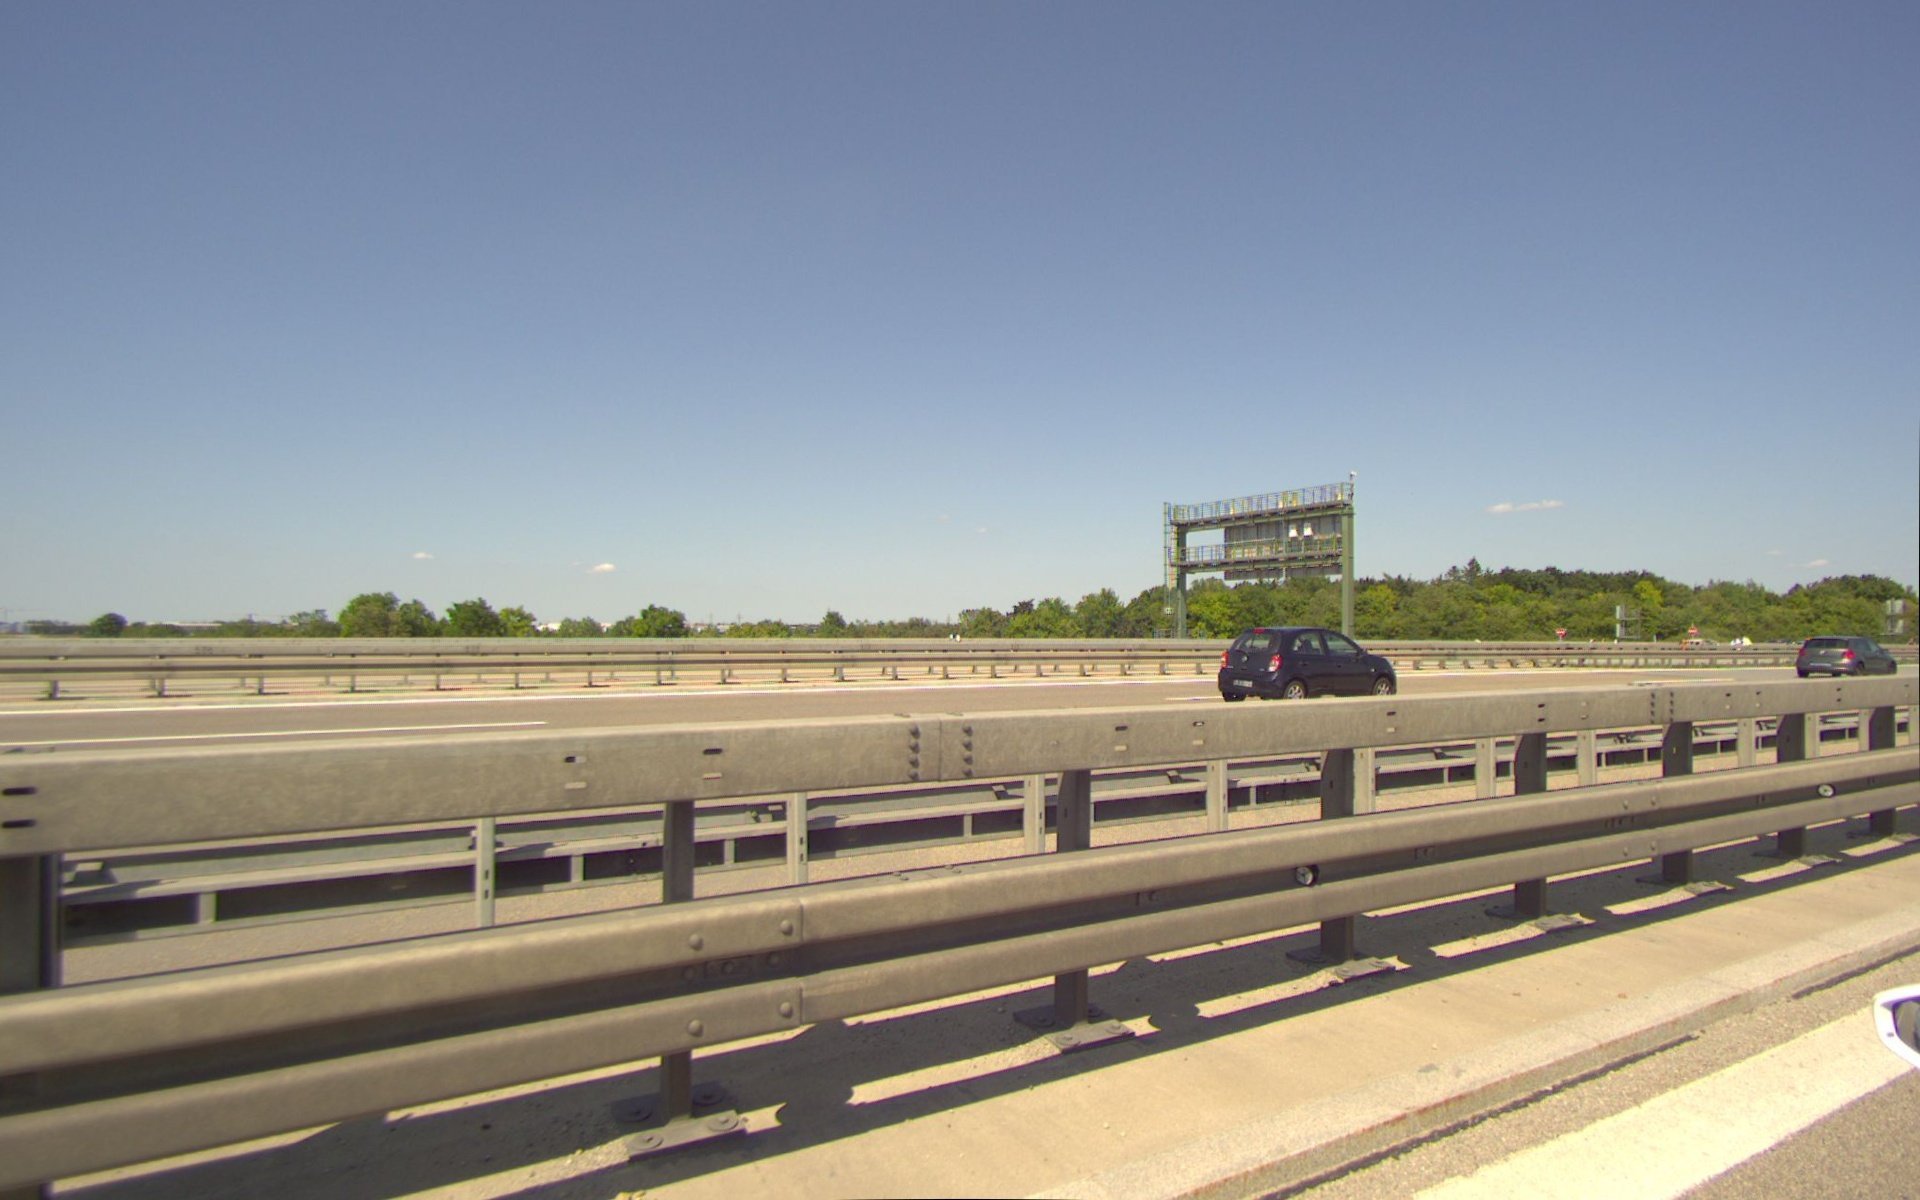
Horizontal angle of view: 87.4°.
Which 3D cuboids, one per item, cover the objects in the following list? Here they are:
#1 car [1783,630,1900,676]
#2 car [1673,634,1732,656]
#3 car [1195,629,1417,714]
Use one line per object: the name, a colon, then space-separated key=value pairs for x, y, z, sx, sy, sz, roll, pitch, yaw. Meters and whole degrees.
car: x=30.170 y=1.786 z=34.364 sx=4.166 sy=1.441 sz=1.754 roll=1 pitch=-1 yaw=-30
car: x=54.600 y=3.258 z=73.864 sx=4.477 sy=1.537 sz=1.829 roll=1 pitch=-1 yaw=-30
car: x=6.753 y=1.313 z=19.528 sx=4.167 sy=1.452 sz=1.821 roll=1 pitch=-1 yaw=-30
